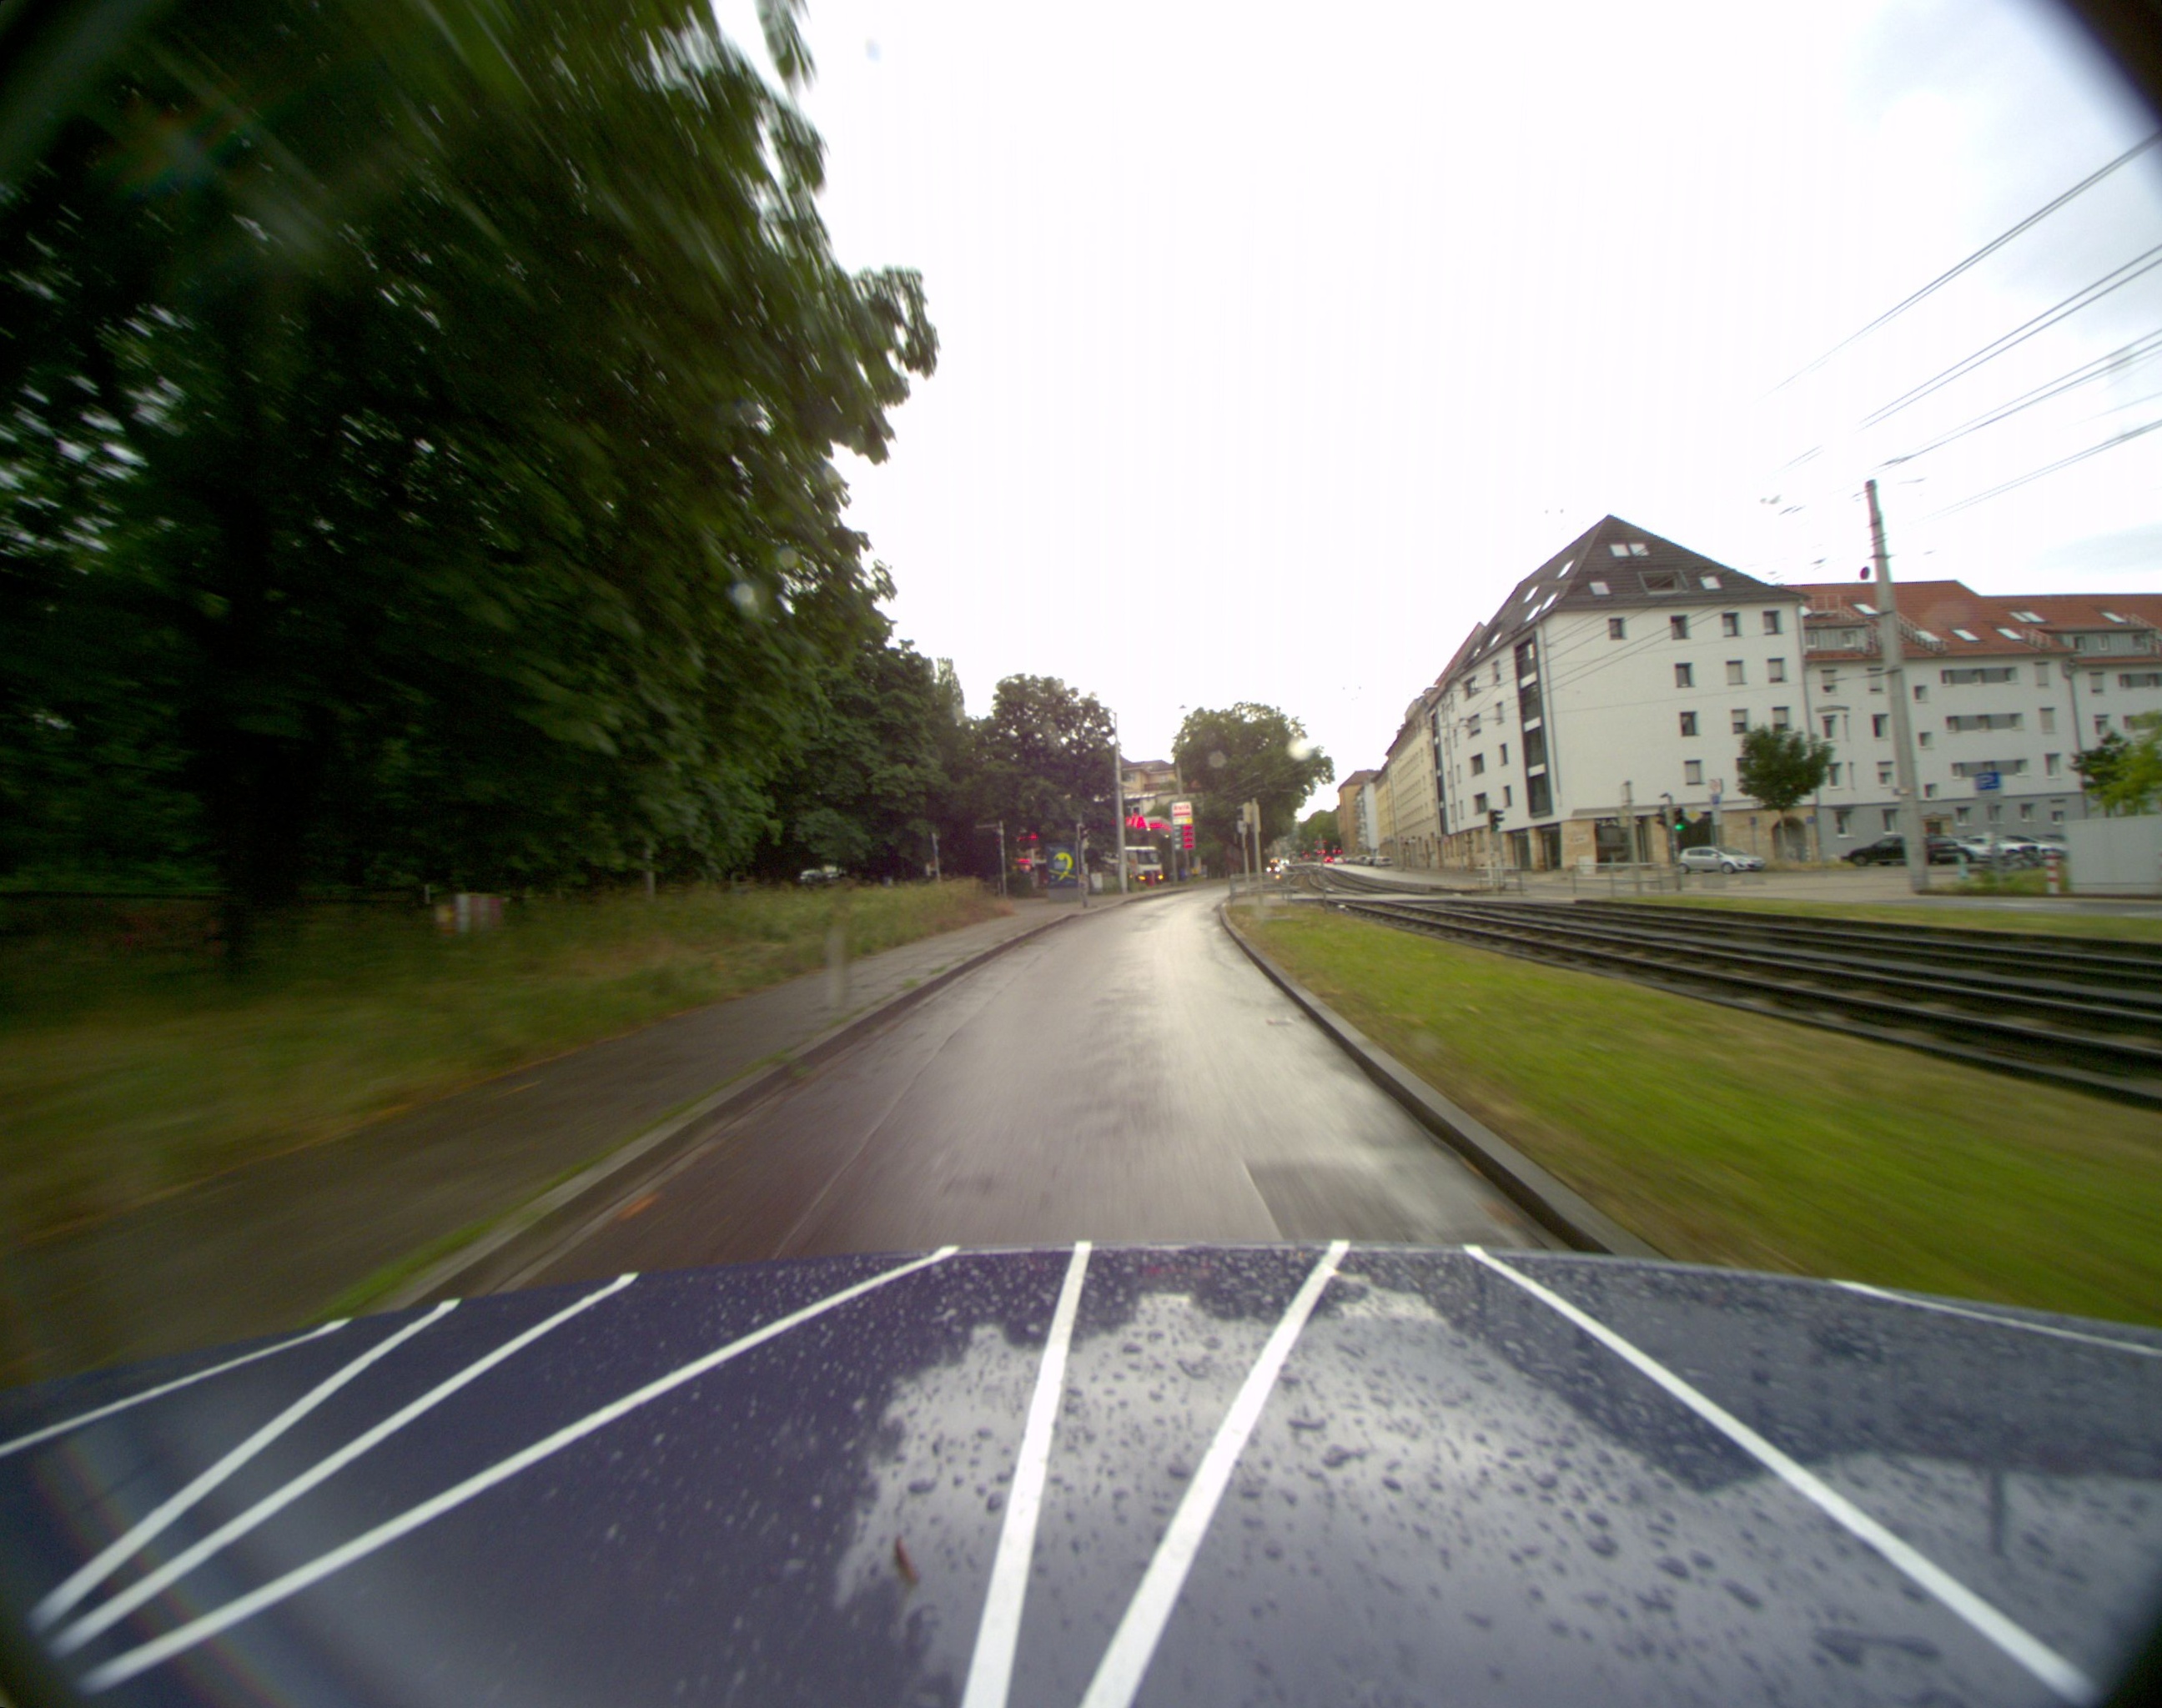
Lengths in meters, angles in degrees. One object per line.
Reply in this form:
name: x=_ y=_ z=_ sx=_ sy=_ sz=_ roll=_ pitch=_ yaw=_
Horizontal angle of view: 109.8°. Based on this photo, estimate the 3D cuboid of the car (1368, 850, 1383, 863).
car: x=47.660 y=0.343 z=122.989 sx=1.727 sy=1.948 sz=4.304 roll=-3 pitch=0 yaw=15

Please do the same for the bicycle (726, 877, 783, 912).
bicycle: x=-11.824 y=1.457 z=27.552 sx=1.711 sy=1.133 sz=0.625 roll=-3 pitch=0 yaw=-5

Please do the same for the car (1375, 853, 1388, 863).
car: x=45.957 y=0.653 z=116.173 sx=1.325 sy=1.475 sz=3.194 roll=-3 pitch=0 yaw=13

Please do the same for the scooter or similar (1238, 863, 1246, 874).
scooter or similar: x=19.019 y=1.749 z=89.707 sx=0.399 sy=1.186 sz=1.365 roll=-2 pitch=3 yaw=30

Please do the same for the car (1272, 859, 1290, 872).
car: x=26.589 y=1.488 z=101.063 sx=1.887 sy=1.482 sz=3.854 roll=-2 pitch=0 yaw=20

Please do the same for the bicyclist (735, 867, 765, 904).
bicyclist: x=-12.003 y=1.155 z=27.583 sx=0.800 sy=1.286 sz=0.595 roll=-3 pitch=-2 yaw=-6

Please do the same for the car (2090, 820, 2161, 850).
car: x=61.819 y=-1.128 z=43.779 sx=1.940 sy=1.608 sz=3.999 roll=-2 pitch=-1 yaw=-4

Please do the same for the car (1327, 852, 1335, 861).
car: x=64.790 y=0.643 z=196.905 sx=1.947 sy=2.002 sz=4.005 roll=-3 pitch=0 yaw=16

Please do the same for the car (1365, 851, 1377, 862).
car: x=49.023 y=0.384 z=128.641 sx=1.375 sy=1.742 sz=3.409 roll=-3 pitch=0 yaw=13

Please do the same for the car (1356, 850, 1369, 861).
car: x=51.489 y=0.283 z=138.949 sx=1.725 sy=1.798 sz=3.595 roll=-3 pitch=0 yaw=13

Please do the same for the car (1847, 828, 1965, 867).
car: x=45.064 y=-0.314 z=41.634 sx=1.940 sy=2.001 sz=3.999 roll=-2 pitch=-1 yaw=-4

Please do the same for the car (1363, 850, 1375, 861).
car: x=50.285 y=0.260 z=132.920 sx=1.555 sy=1.871 sz=4.045 roll=-3 pitch=0 yaw=16

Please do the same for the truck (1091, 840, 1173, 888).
truck: x=3.705 y=0.786 z=56.789 sx=2.842 sy=3.379 sz=6.111 roll=-2 pitch=0 yaw=-34

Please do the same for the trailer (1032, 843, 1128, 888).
trailer: x=-0.278 y=1.011 z=62.763 sx=2.818 sy=3.376 sz=9.813 roll=-3 pitch=0 yaw=-33

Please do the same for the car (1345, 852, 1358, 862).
car: x=57.937 y=0.577 z=162.912 sx=2.028 sy=2.002 sz=4.231 roll=-3 pitch=0 yaw=13

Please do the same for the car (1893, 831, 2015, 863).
car: x=47.859 y=-0.351 z=41.781 sx=1.940 sy=1.608 sz=3.999 roll=-2 pitch=-1 yaw=-4

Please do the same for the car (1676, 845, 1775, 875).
car: x=33.967 y=0.317 z=40.170 sx=1.601 sy=1.412 sz=3.914 roll=-3 pitch=0 yaw=-7

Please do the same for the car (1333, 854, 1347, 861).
car: x=55.010 y=0.774 z=161.443 sx=1.690 sy=1.527 sz=5.021 roll=-3 pitch=-1 yaw=8

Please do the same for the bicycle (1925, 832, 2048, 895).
bicycle: x=24.777 y=0.251 z=20.870 sx=0.676 sy=1.586 sz=2.362 roll=-3 pitch=0 yaw=6

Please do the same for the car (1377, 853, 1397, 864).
car: x=44.964 y=0.629 z=111.758 sx=2.028 sy=1.533 sz=4.004 roll=-3 pitch=0 yaw=13

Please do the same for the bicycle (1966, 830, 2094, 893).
bicycle: x=25.833 y=0.188 z=20.767 sx=0.676 sy=1.586 sz=2.362 roll=-3 pitch=0 yaw=6
